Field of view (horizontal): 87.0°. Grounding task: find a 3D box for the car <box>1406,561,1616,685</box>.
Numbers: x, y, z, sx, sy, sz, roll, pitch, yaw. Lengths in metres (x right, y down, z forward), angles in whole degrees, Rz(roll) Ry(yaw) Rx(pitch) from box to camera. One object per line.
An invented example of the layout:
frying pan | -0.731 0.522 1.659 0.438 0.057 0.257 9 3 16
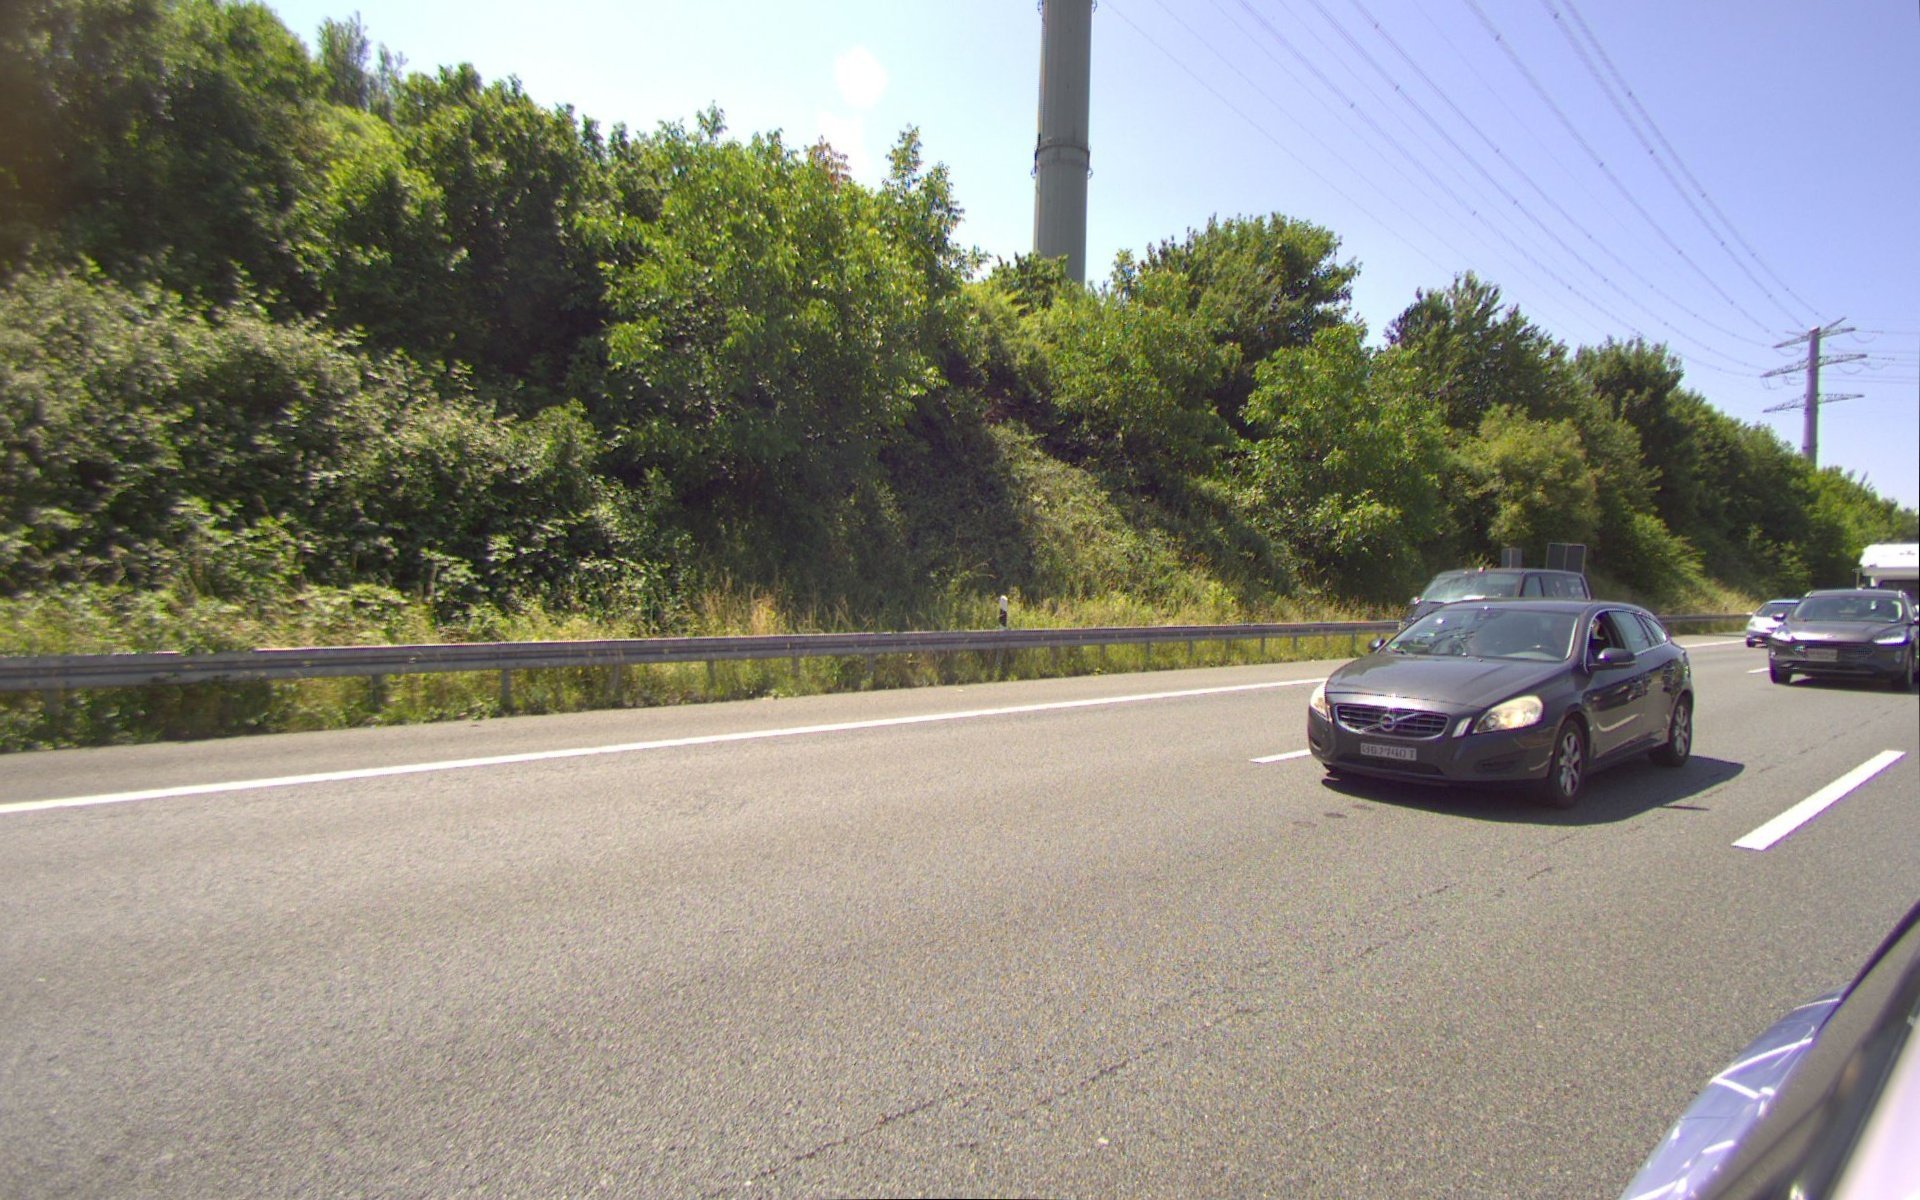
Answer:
car | 9.893 0.340 18.017 4.616 1.928 1.787 0 0 -41

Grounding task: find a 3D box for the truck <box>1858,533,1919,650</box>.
truck | 28.847 -0.257 29.518 9.721 3.053 2.513 0 0 -40

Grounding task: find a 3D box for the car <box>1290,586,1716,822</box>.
car | 4.607 0.620 8.307 4.158 1.455 1.798 0 1 -42

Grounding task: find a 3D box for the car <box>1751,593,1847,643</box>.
car | 25.995 0.502 31.324 3.667 1.455 1.798 0 1 -42

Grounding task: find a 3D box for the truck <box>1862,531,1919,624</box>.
truck | 47.157 -1.066 49.786 11.456 4.204 2.654 0 0 -40

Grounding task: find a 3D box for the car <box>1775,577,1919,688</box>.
car | 15.996 0.480 17.843 4.308 1.724 1.890 0 1 -42
